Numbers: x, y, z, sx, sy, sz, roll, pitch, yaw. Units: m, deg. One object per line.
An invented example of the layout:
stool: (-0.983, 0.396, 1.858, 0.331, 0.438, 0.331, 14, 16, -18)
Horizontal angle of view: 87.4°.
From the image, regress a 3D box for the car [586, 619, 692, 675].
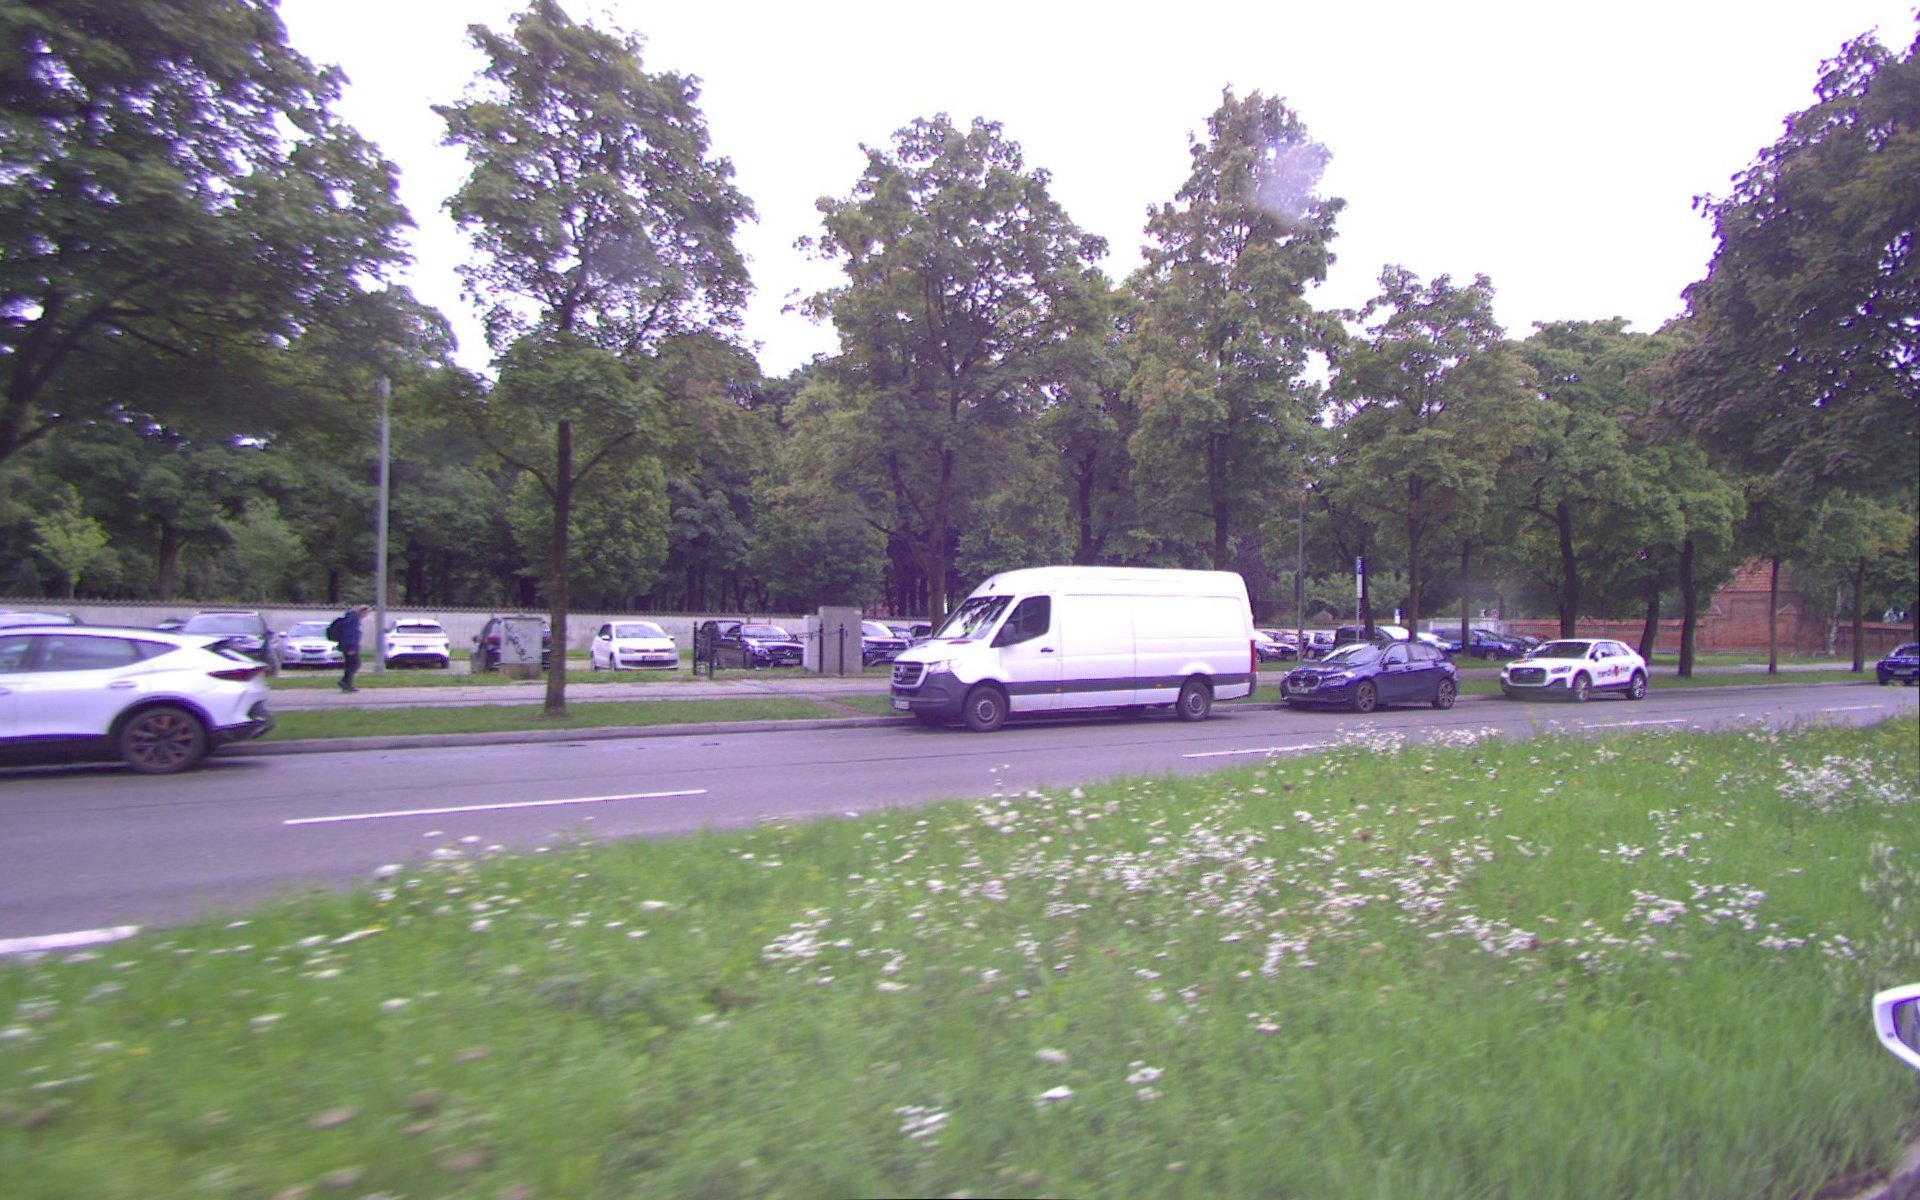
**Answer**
car: (-8.609, 1.204, 26.760, 1.794, 1.356, 3.966, 1, -2, -32)

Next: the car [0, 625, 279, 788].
car: (-9.673, 1.056, 10.346, 4.251, 1.547, 1.812, 3, -4, -32)

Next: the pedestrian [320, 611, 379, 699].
pedestrian: (-10.835, 0.966, 17.862, 0.846, 1.515, 0.791, 1, -2, -30)

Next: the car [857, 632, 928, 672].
car: (-2.937, 2.201, 43.089, 1.746, 1.617, 3.976, 1, -2, -25)

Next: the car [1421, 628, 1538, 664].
car: (23.293, 2.051, 45.202, 1.977, 1.524, 4.329, 1, -2, -30)

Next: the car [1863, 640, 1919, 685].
car: (34.914, 2.267, 36.570, 4.267, 1.557, 1.877, 1, -4, -32)

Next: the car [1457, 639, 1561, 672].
car: (25.609, 2.572, 46.980, 1.738, 1.410, 3.960, 1, -2, -29)

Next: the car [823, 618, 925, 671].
car: (-2.642, 1.291, 29.964, 1.790, 1.457, 3.976, 1, -2, -25)

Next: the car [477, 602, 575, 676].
car: (-10.270, 0.894, 23.617, 1.792, 1.591, 3.971, 1, -2, -28)

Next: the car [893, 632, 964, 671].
car: (-1.436, 2.252, 44.645, 1.746, 1.617, 3.976, 1, -2, -25)

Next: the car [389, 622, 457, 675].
car: (-18.047, 1.581, 33.908, 1.746, 1.675, 3.976, 1, -2, -25)

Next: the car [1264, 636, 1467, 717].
car: (8.581, 1.576, 21.173, 4.205, 1.510, 1.847, 3, -2, -32)

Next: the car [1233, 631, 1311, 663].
car: (17.322, 2.567, 55.895, 1.794, 1.557, 3.967, 1, 0, -30)

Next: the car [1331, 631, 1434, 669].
car: (17.927, 2.112, 42.826, 1.968, 1.524, 3.987, 1, -2, -16)

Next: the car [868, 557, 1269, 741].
car: (2.036, 0.809, 17.394, 7.021, 2.678, 2.130, 1, -3, -30)

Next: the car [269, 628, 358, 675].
car: (-20.720, 1.609, 32.345, 1.852, 1.391, 3.976, 1, -2, -25)

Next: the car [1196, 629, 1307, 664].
car: (10.997, 1.744, 38.192, 1.760, 1.225, 4.160, 1, -2, -26)

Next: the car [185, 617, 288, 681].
car: (-15.857, 1.032, 22.037, 1.674, 1.275, 3.959, 2, -2, -36)

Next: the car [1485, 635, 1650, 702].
car: (15.132, 1.681, 24.979, 4.096, 1.510, 1.847, 3, -2, -32)

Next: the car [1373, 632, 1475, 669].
car: (20.291, 2.193, 44.138, 1.968, 1.524, 3.987, 1, -2, -16)

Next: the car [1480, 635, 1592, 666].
car: (27.465, 2.384, 48.057, 1.738, 1.410, 4.394, 1, -2, -29)

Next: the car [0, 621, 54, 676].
car: (-27.854, 1.351, 28.723, 1.977, 1.461, 4.484, 1, -1, -30)
